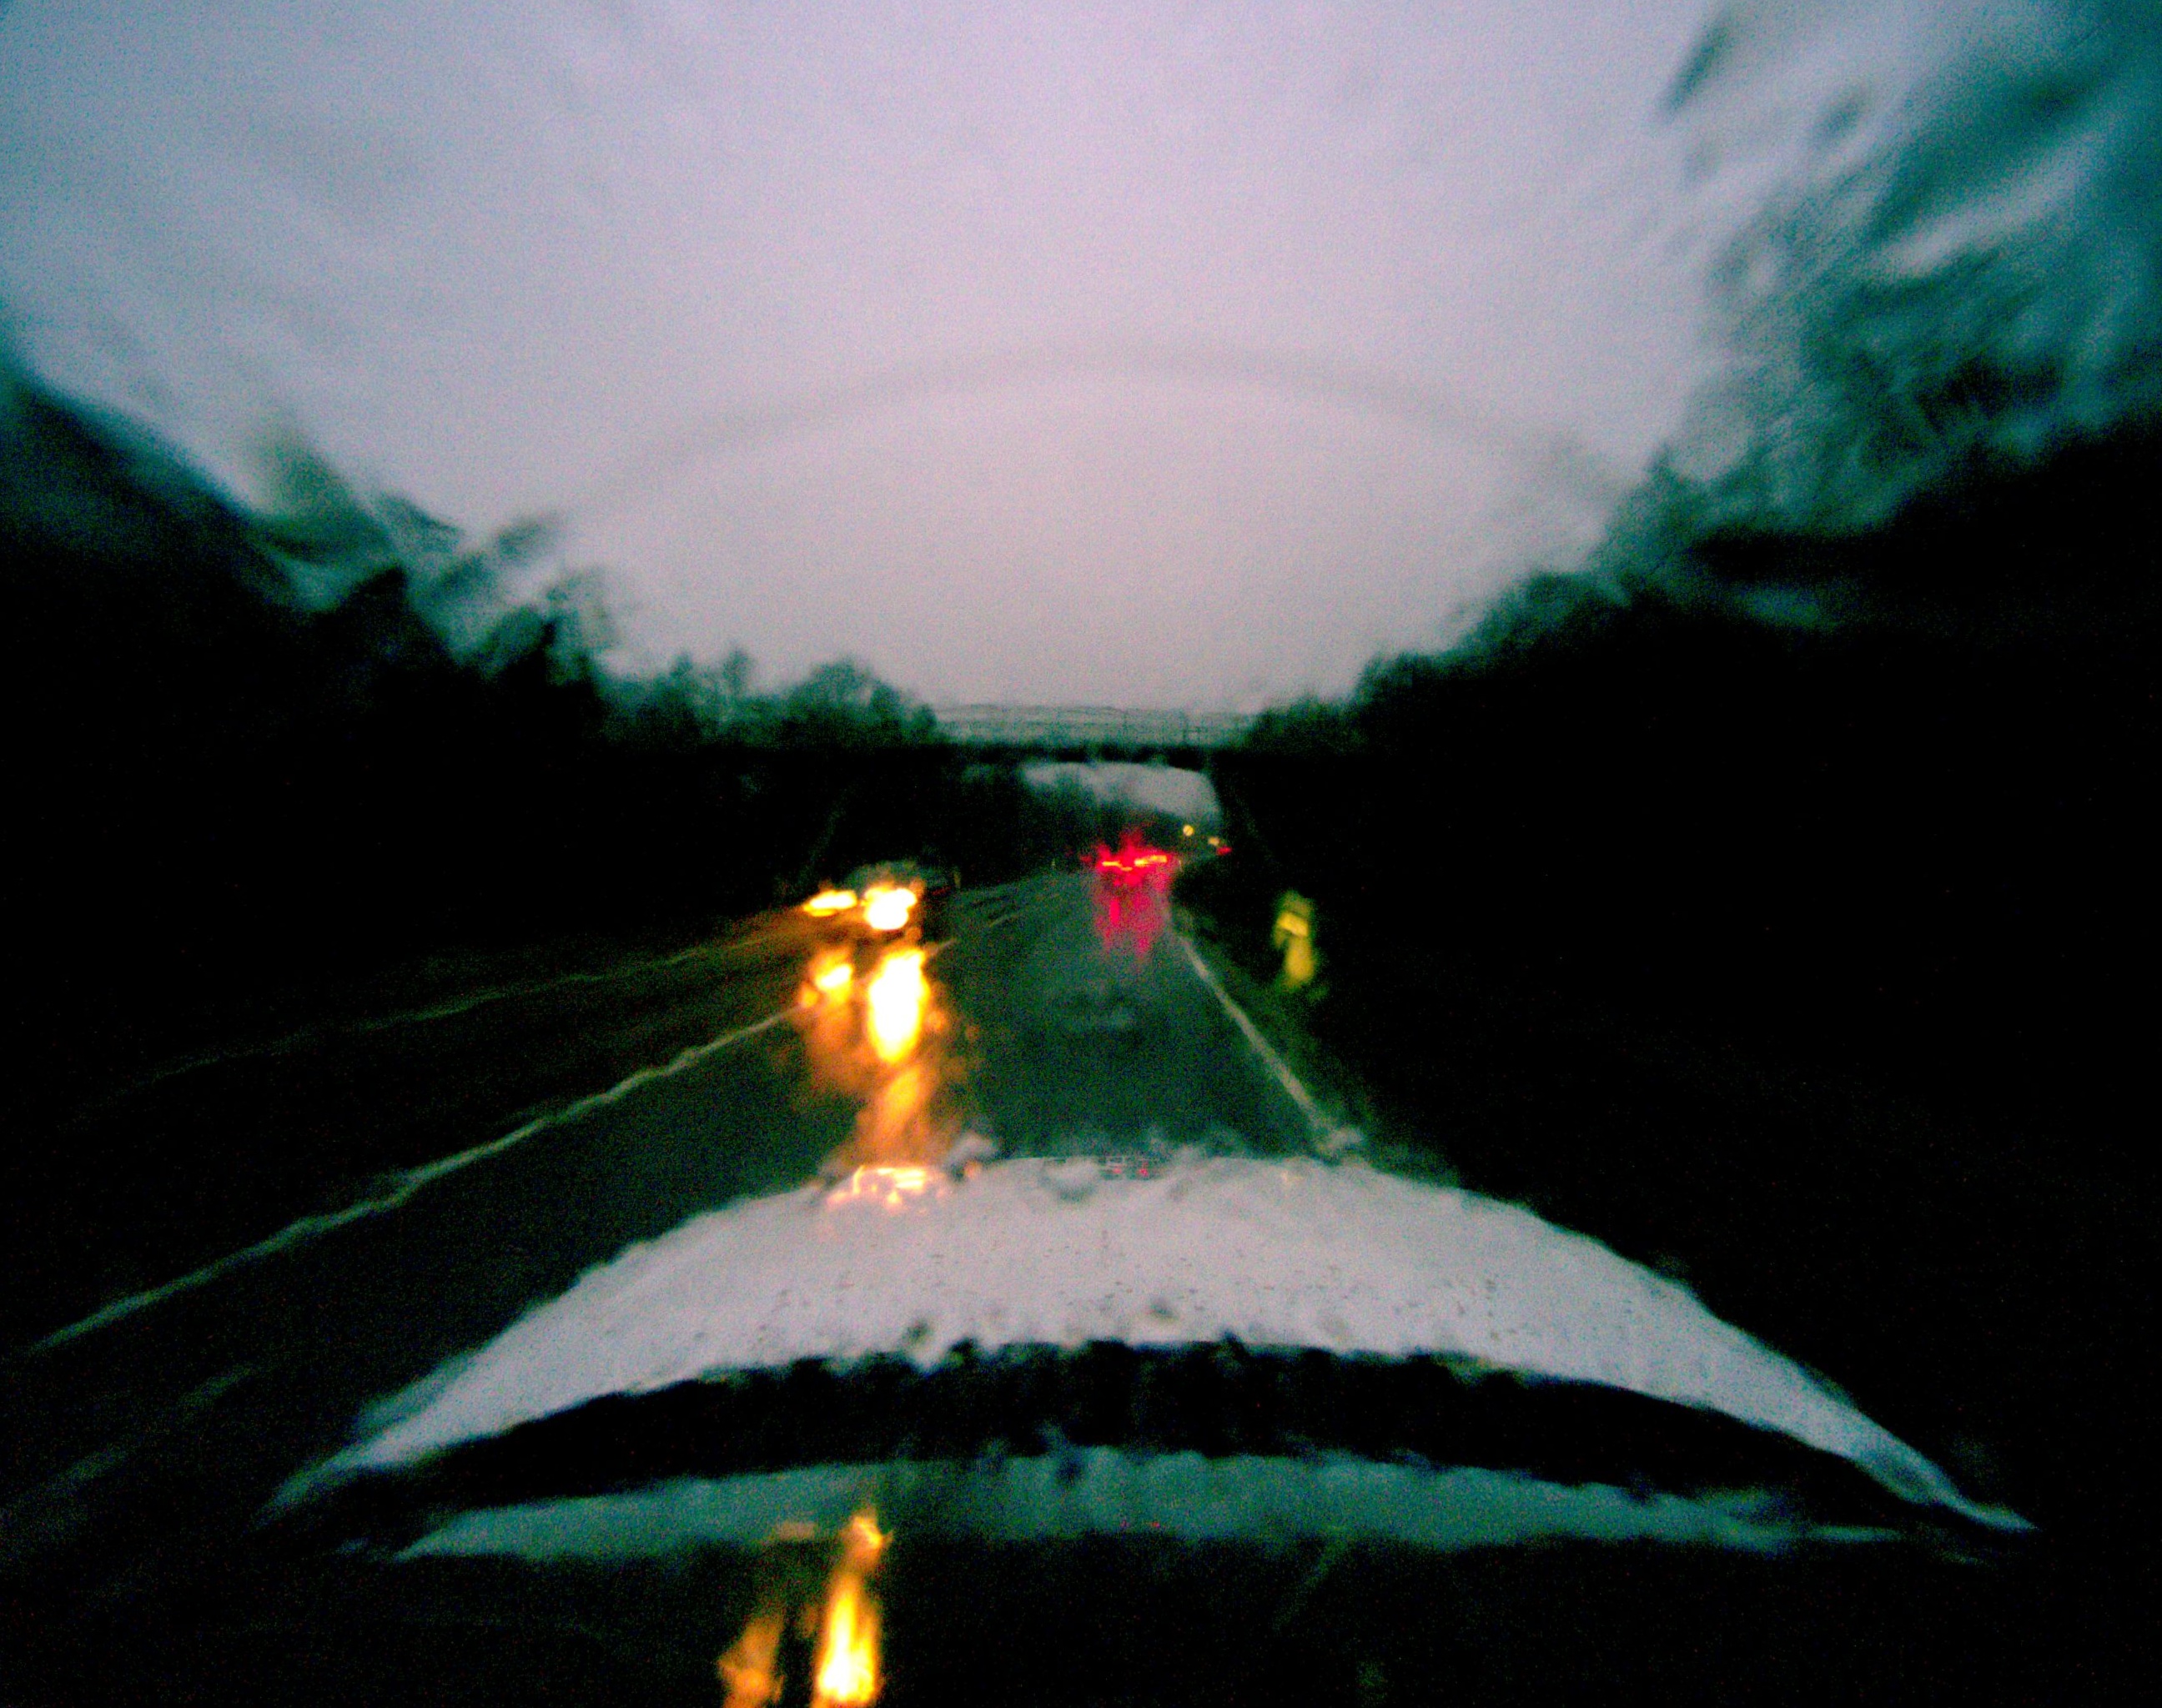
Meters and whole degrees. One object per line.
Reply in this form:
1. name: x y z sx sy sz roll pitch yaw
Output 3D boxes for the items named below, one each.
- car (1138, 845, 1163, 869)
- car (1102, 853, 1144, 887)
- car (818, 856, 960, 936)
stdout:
1. car: 5.321 0.189 61.873 1.669 1.675 4.107 -2 0 8
2. car: 1.960 0.670 36.922 1.670 1.389 4.104 -2 0 5
3. car: -3.929 0.802 17.480 1.797 1.453 4.382 -1 0 3
